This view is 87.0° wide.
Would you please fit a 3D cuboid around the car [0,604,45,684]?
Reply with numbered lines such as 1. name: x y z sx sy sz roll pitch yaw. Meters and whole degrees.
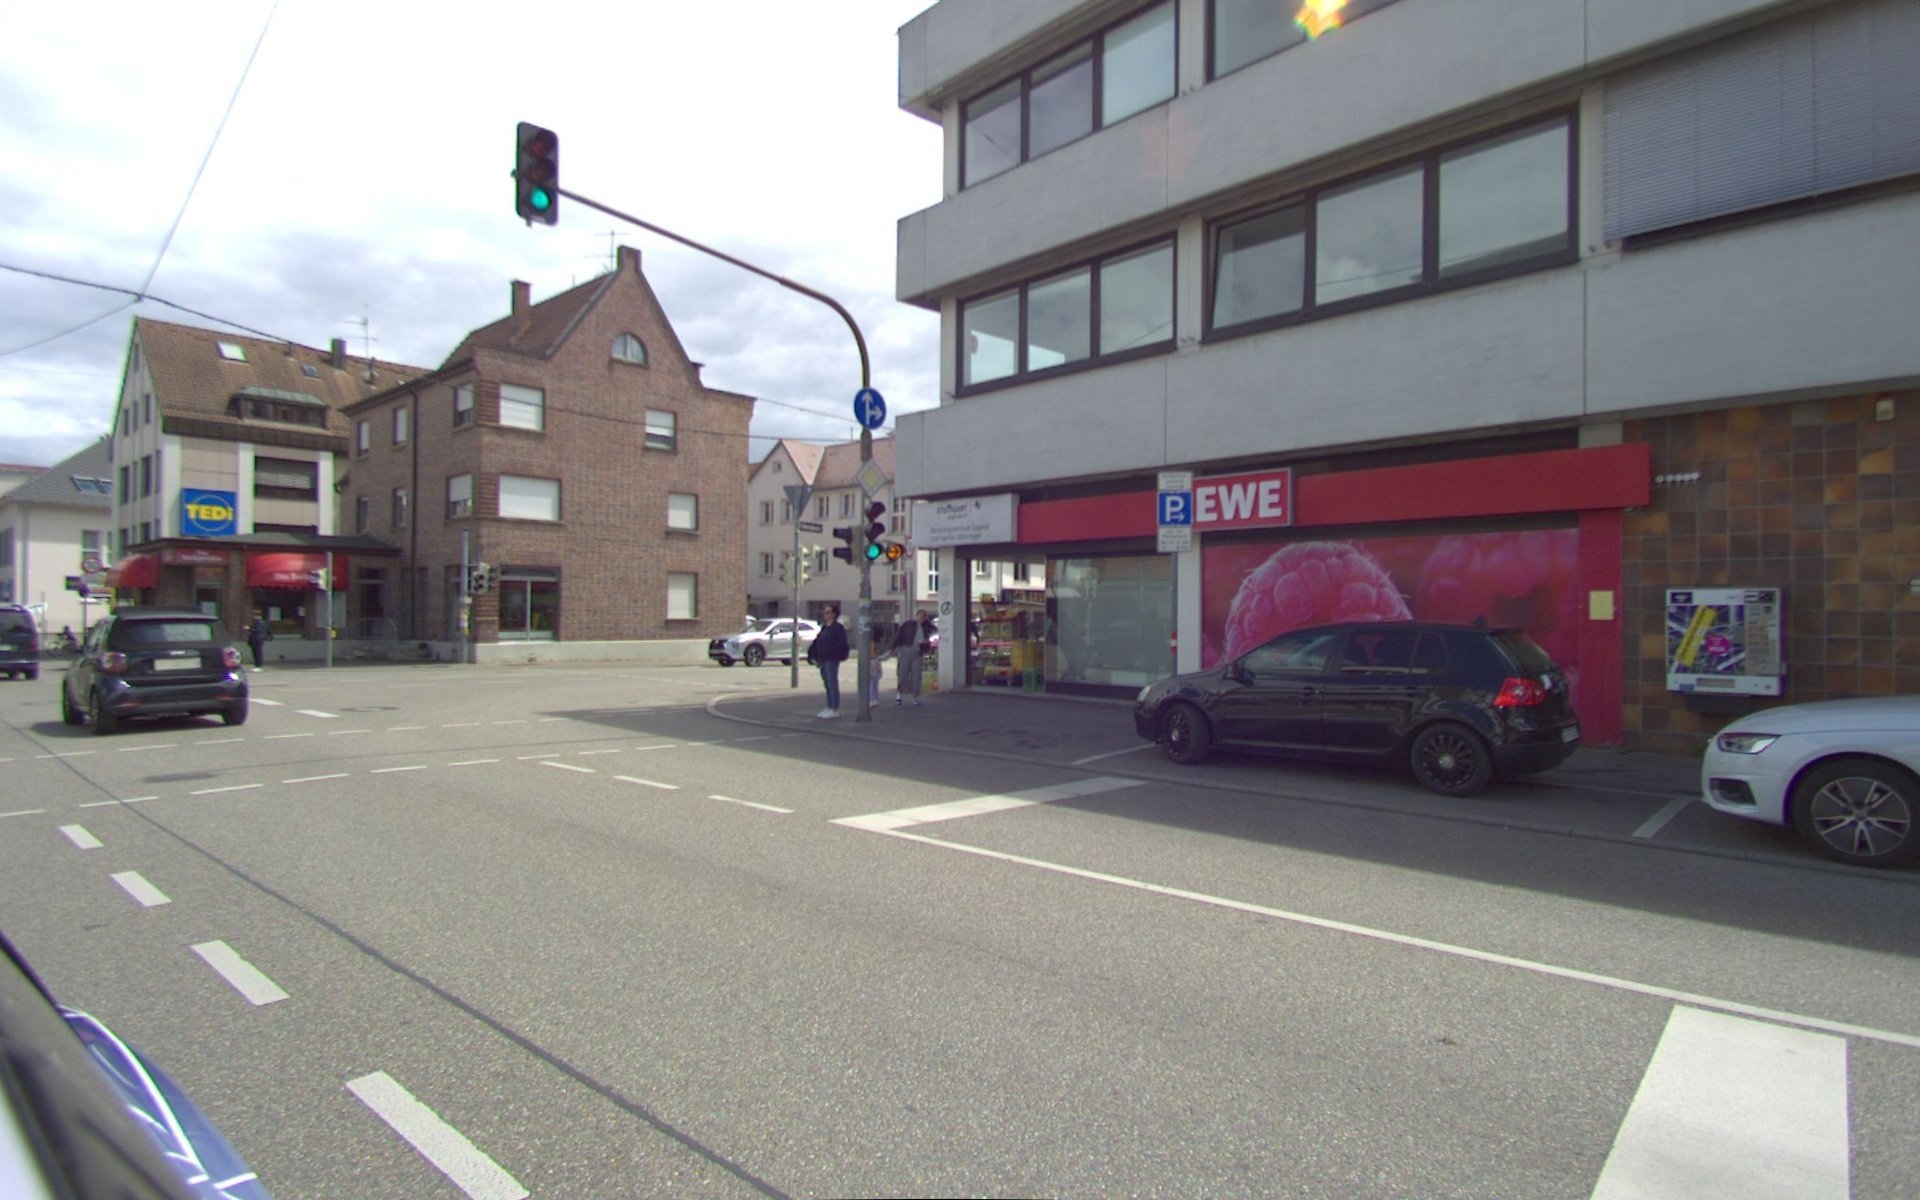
1. car: -24.885 1.069 25.599 4.873 1.891 1.928 -1 -2 40

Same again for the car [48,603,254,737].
1. car: -11.184 0.903 13.966 2.831 1.648 1.660 -1 -2 40

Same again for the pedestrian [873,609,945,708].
1. pedestrian: -0.836 0.941 16.641 0.809 1.566 0.846 0 -1 -43

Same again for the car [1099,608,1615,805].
1. car: 3.713 0.859 9.946 4.285 1.486 2.022 -1 -1 43

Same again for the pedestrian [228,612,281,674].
1. pedestrian: -20.311 1.234 29.146 0.839 1.736 0.906 0 -2 0

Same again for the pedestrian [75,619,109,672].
1. pedestrian: -28.422 1.469 33.143 0.768 1.708 0.796 2 -3 -43

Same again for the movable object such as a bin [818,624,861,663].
1. movable object such as a bin: -5.330 1.897 44.862 1.145 1.637 1.498 -1 0 44

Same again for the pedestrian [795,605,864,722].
1. pedestrian: -1.909 0.903 14.774 0.709 1.657 0.682 0 -1 -44

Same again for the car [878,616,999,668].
1. car: -0.711 1.497 36.646 1.999 1.768 4.291 -1 -3 41

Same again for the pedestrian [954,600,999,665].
1. pedestrian: 0.438 0.853 26.723 0.821 1.663 0.834 -2 -1 41

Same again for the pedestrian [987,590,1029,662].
1. pedestrian: 1.212 0.652 25.383 0.815 1.753 0.840 -1 -1 20

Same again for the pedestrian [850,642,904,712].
1. pedestrian: -1.336 1.217 16.257 0.552 1.065 0.663 0 -1 -43

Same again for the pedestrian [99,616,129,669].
1. pedestrian: -28.024 1.405 33.524 0.674 1.729 0.878 2 -3 -43

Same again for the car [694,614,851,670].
1. car: -6.422 1.451 35.152 2.001 1.782 5.184 -3 -3 44

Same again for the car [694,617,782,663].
1. car: -9.466 1.695 43.072 3.700 1.877 1.845 -1 -3 42

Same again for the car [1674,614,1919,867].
1. car: 7.220 0.806 5.701 2.021 1.455 4.955 0 -1 -45
